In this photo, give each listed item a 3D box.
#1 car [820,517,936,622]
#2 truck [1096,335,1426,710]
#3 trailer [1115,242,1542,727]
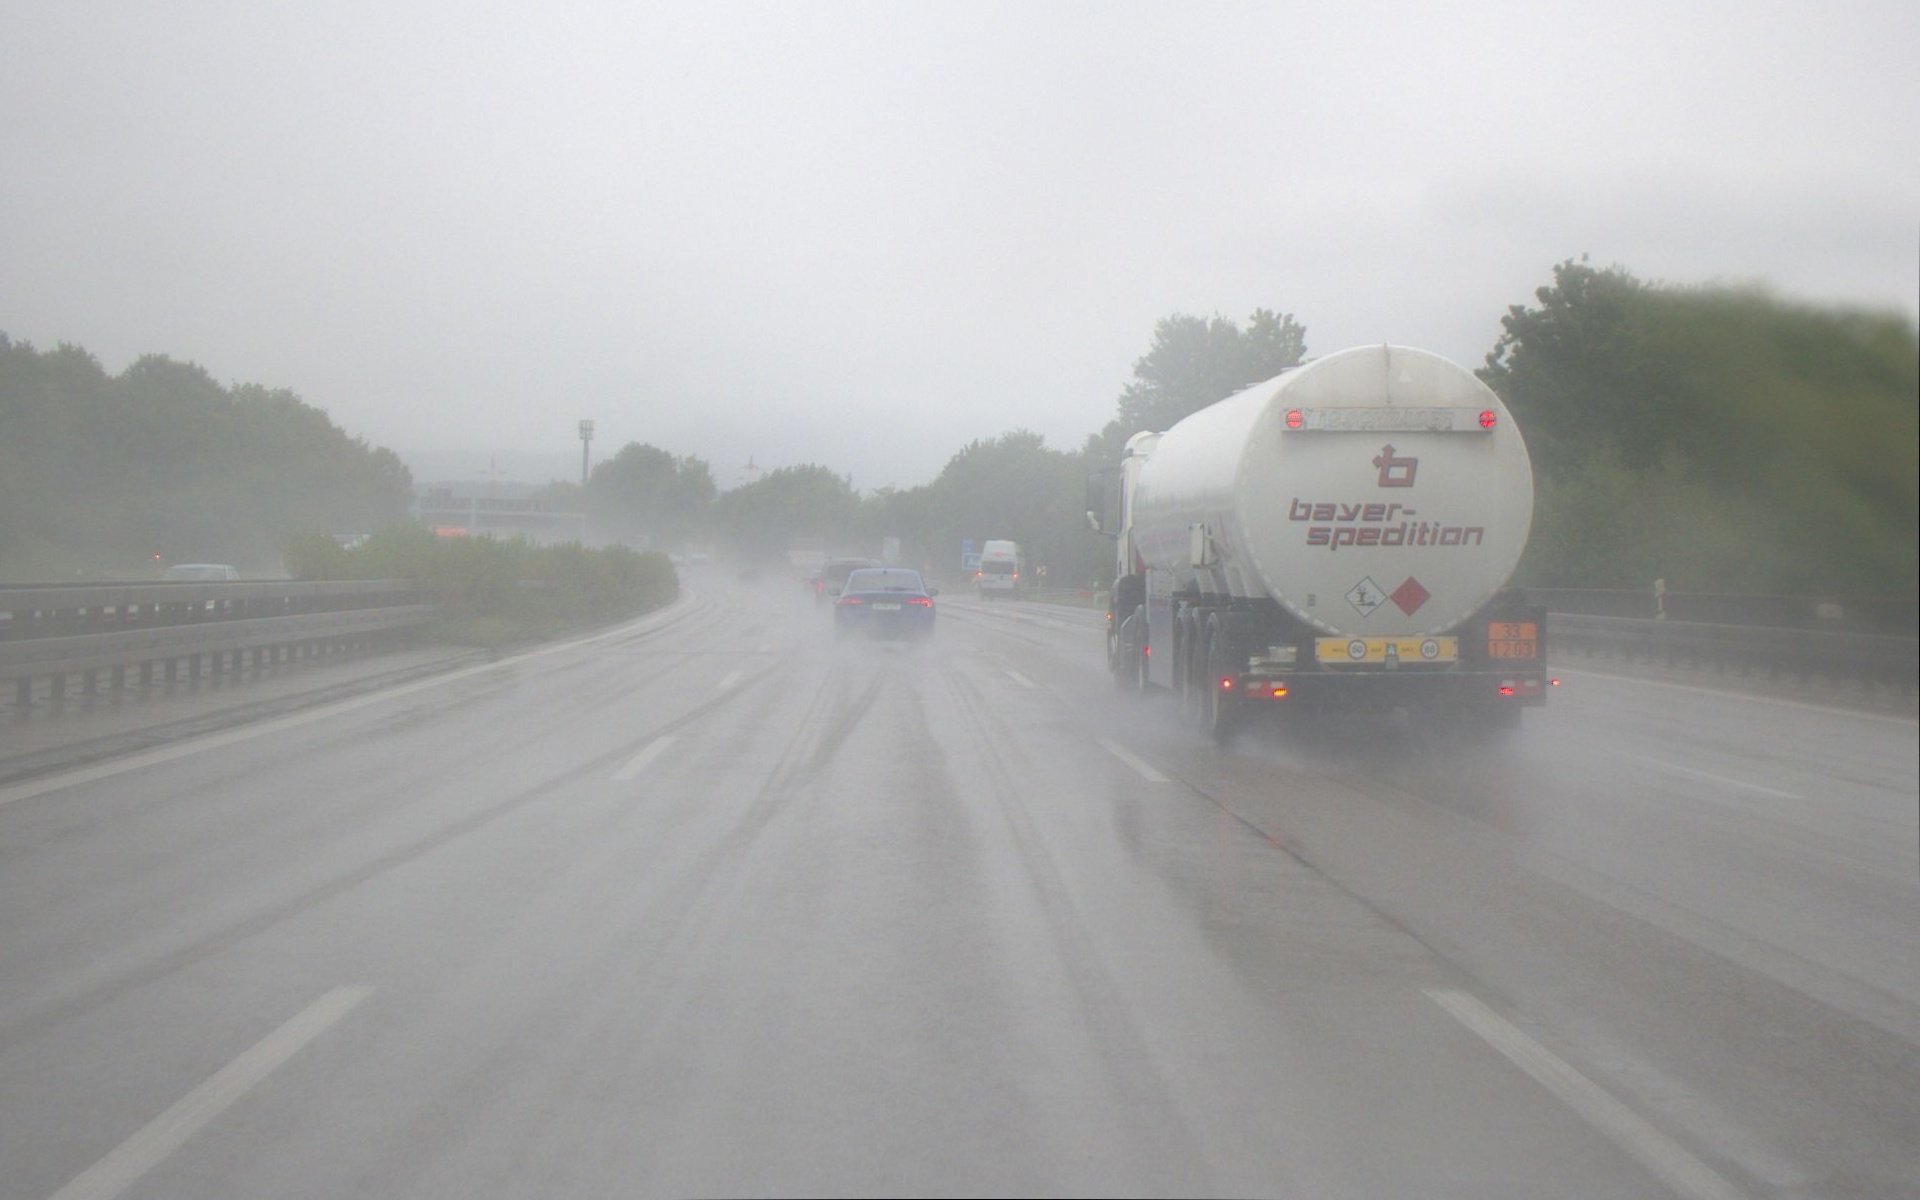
[{"bbox_3d":[-1.479,-0.577,61.189,1.978,1.750,4.482,-1,2,-2],"label":"car"},{"bbox_3d":[3.100,-0.815,37.146,2.943,3.671,6.362,-1,1,0],"label":"truck"},{"bbox_3d":[3.133,-0.990,31.732,3.004,3.834,8.624,-1,1,0],"label":"trailer"}]
